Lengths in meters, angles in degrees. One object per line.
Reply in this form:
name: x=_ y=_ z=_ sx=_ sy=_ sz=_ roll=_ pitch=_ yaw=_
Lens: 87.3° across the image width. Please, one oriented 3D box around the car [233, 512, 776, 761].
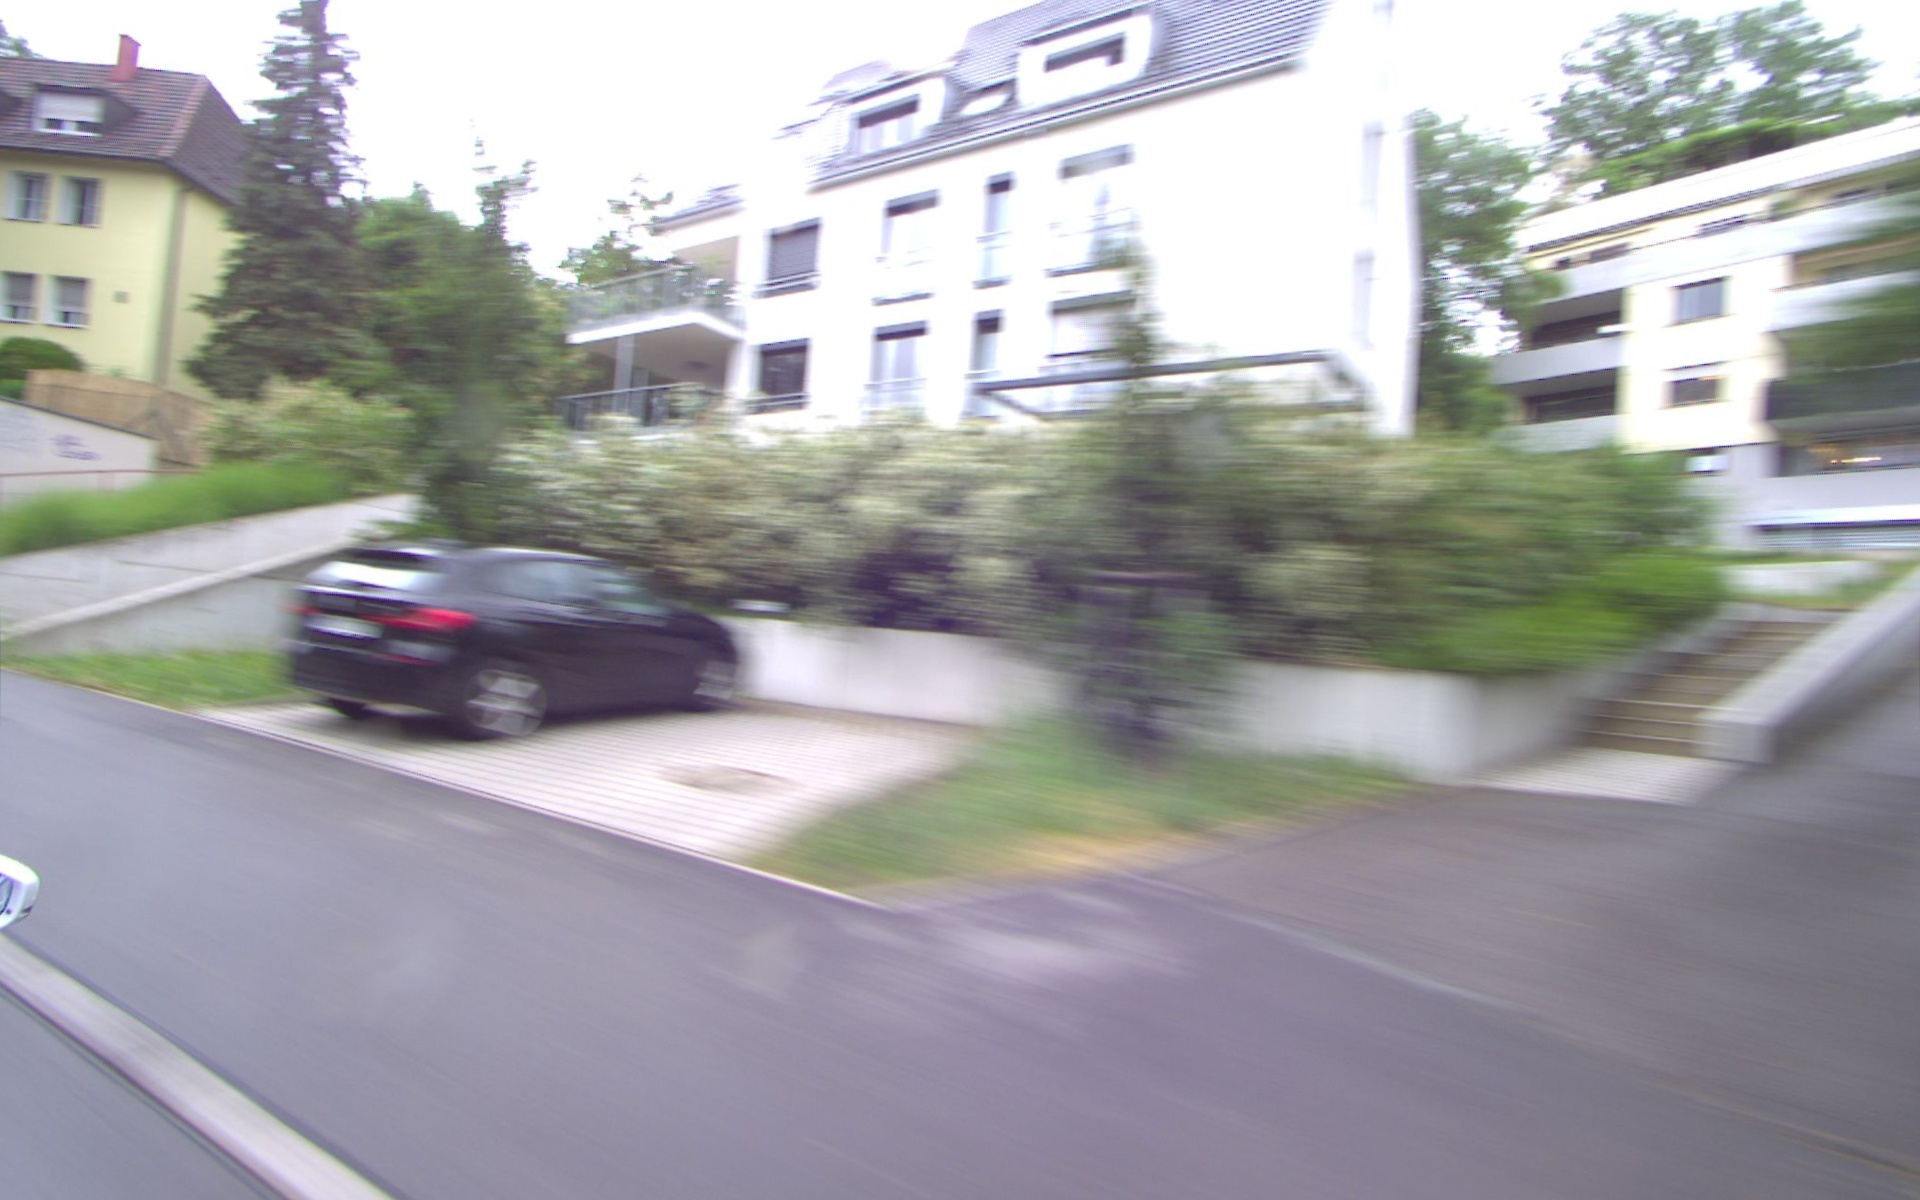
car: x=-3.565 y=0.263 z=8.796 sx=1.709 sy=1.527 sz=4.177 roll=6 pitch=1 yaw=24
